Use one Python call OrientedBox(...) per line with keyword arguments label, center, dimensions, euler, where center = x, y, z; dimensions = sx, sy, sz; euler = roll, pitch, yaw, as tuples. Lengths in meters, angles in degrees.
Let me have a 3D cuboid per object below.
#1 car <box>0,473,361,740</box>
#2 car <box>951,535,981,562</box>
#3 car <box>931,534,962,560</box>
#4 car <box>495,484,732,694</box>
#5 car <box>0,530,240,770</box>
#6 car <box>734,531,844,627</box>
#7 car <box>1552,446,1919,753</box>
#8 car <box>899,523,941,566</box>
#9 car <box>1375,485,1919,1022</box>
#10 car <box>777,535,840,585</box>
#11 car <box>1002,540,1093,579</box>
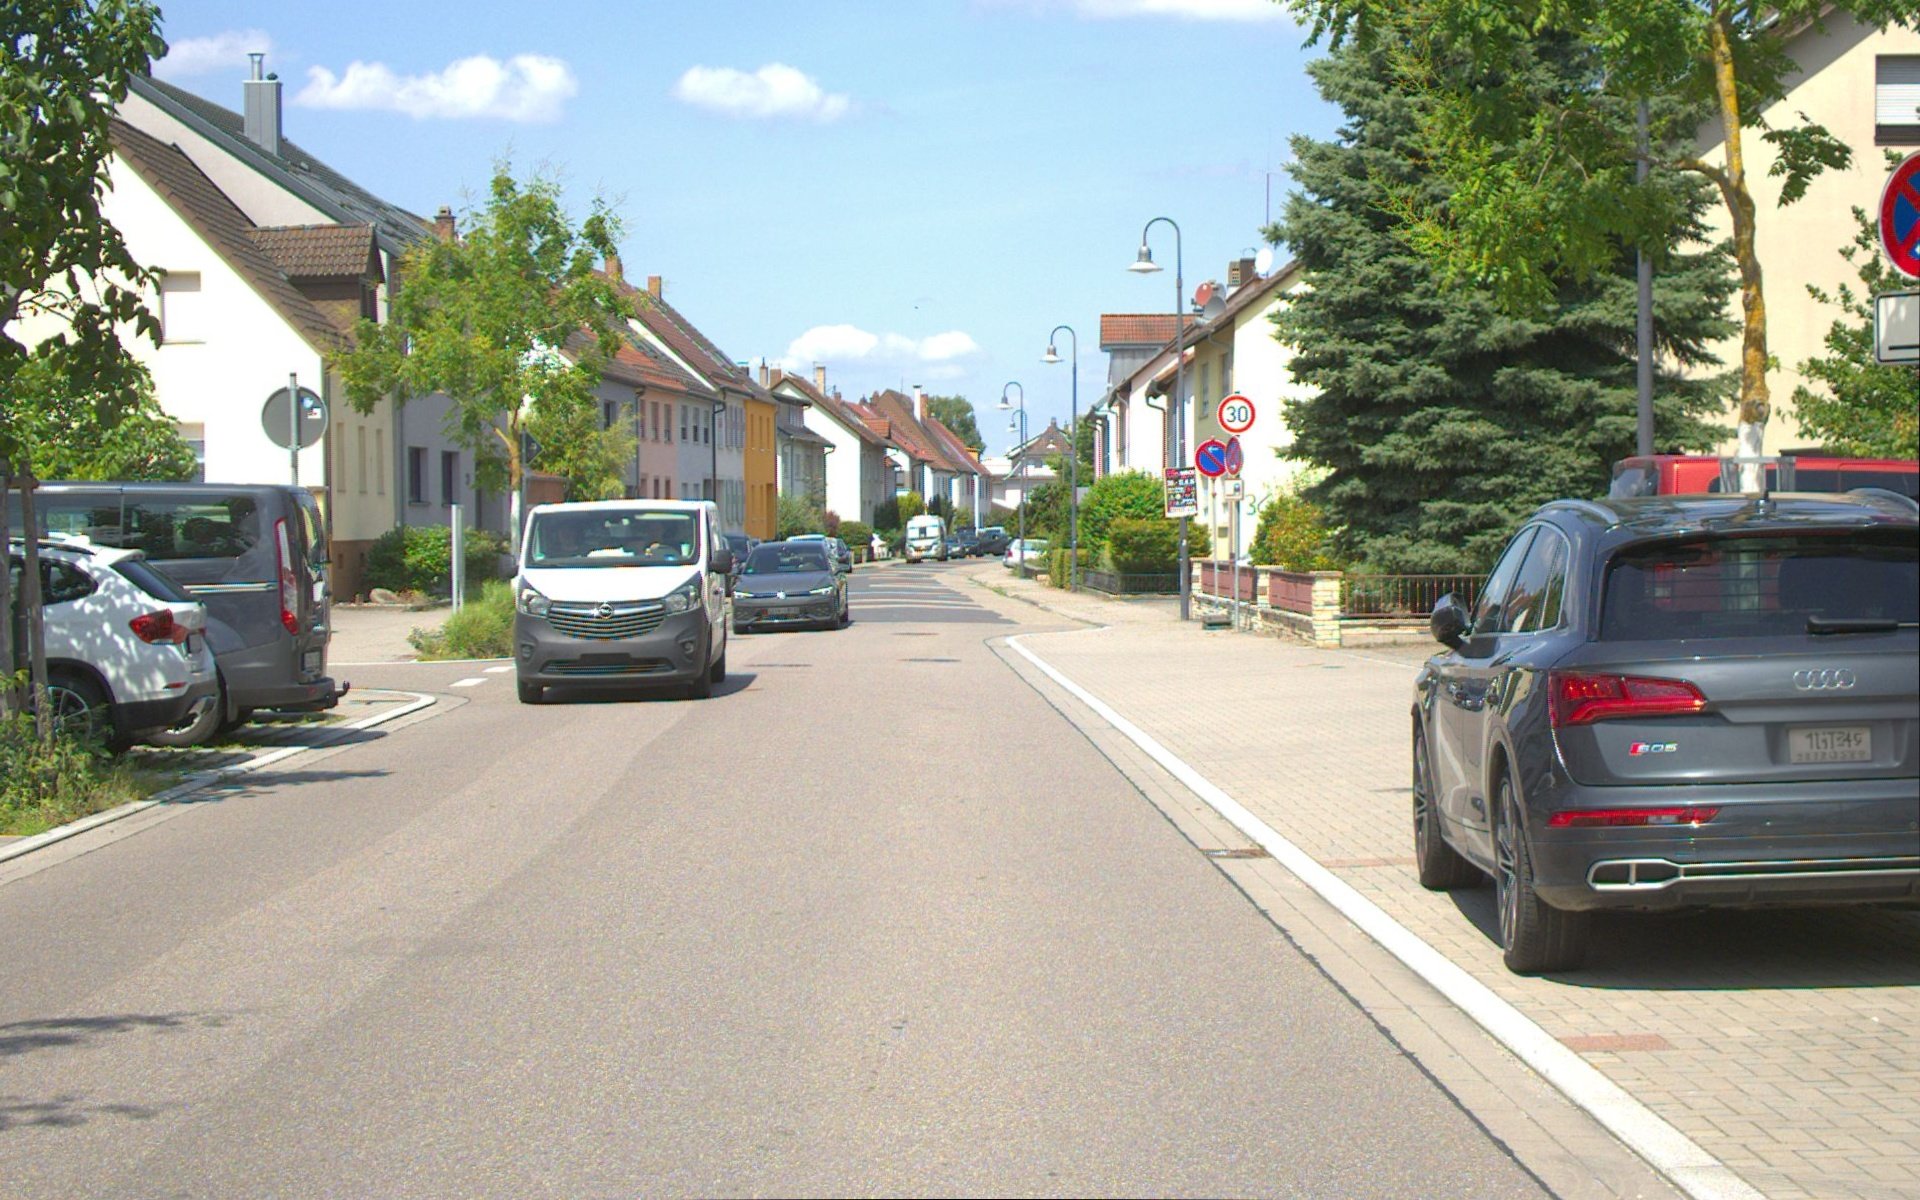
OrientedBox(label="car", center=(-7.124, 0.015, 26.353), dimensions=(4.700, 1.916, 1.938), euler=(1, 0, -1))
OrientedBox(label="car", center=(0.390, -3.289, 219.758), dimensions=(1.691, 1.654, 3.771), euler=(1, 0, 3))
OrientedBox(label="car", center=(-0.820, -3.270, 212.277), dimensions=(1.691, 1.498, 3.771), euler=(1, 0, 3))
OrientedBox(label="car", center=(-3.397, -0.119, 34.551), dimensions=(2.022, 1.943, 4.899), euler=(0, 0, -2))
OrientedBox(label="car", center=(-7.189, 0.291, 23.569), dimensions=(4.182, 1.563, 1.774), euler=(1, 0, -4))
OrientedBox(label="car", center=(-2.864, -0.386, 58.242), dimensions=(1.762, 1.517, 4.049), euler=(-2, 1, -2))
OrientedBox(label="car", center=(6.421, 0.022, 22.662), dimensions=(4.618, 1.887, 2.021), euler=(1, 0, -2))
OrientedBox(label="car", center=(-2.219, -3.046, 190.269), dimensions=(2.045, 2.304, 3.771), euler=(1, 0, 3))
OrientedBox(label="car", center=(2.754, 0.417, 13.012), dimensions=(1.864, 1.630, 4.446), euler=(-2, 2, 1))
OrientedBox(label="car", center=(-5.288, -1.406, 120.346), dimensions=(1.850, 1.653, 4.000), euler=(2, 1, 2))
OrientedBox(label="car", center=(3.470, -1.608, 136.244), dimensions=(3.523, 1.459, 1.628), euler=(1, 0, 0))
